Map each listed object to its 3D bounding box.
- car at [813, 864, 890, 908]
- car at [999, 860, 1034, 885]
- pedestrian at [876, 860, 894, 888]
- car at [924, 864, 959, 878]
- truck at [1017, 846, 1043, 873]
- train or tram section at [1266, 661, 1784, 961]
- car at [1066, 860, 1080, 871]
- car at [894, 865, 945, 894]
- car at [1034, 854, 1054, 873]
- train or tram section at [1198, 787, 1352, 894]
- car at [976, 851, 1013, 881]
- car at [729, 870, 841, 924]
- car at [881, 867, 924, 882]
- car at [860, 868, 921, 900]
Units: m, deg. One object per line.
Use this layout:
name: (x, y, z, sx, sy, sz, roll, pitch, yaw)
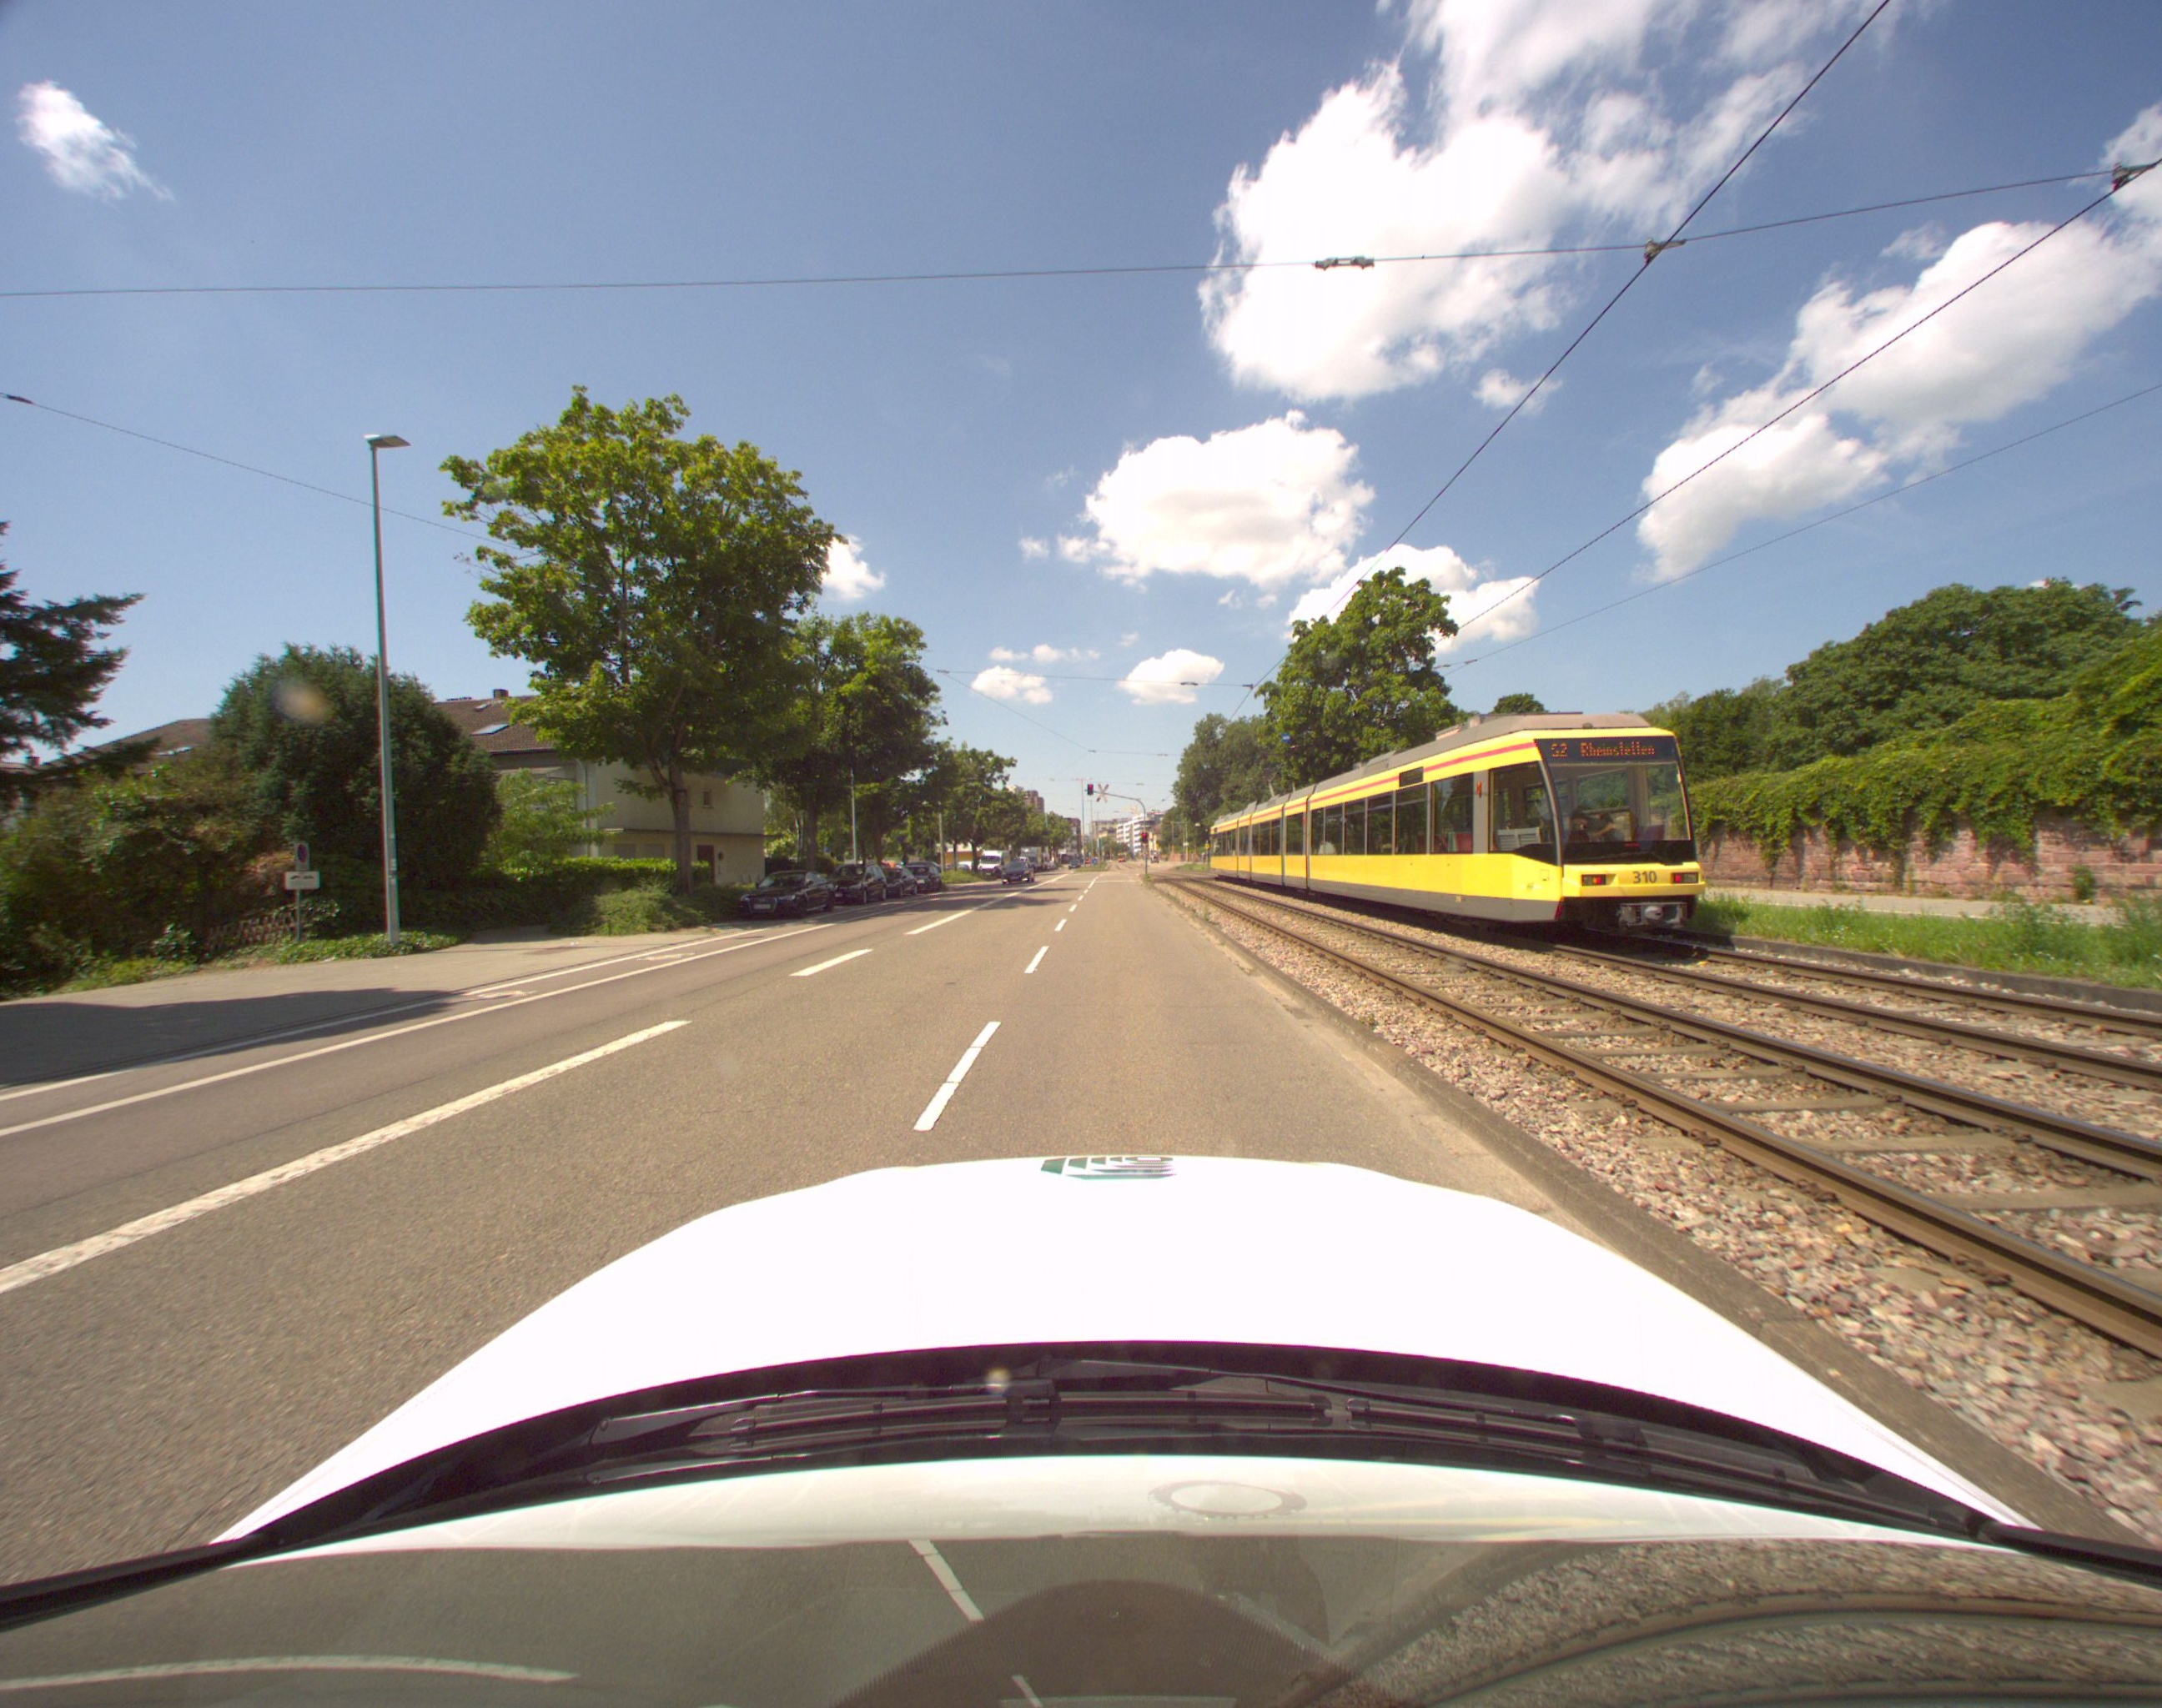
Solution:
car: (-9.268, 1.242, 33.300, 1.768, 1.604, 4.638, -1, 0, 1)
car: (-4.113, 1.176, 52.450, 1.769, 1.460, 4.195, -3, 0, 1)
pedestrian: (-13.055, 1.327, 54.322, 0.971, 1.823, 0.794, -2, -1, -1)
car: (-17.734, 2.193, 103.463, 3.973, 1.606, 1.805, -2, 0, 1)
truck: (-6.277, 0.687, 101.900, 2.147, 3.210, 7.091, 1, 0, 5)
train or tram section: (7.588, -0.507, 19.302, 2.932, 3.692, 18.399, -1, 0, 2)
car: (-1.203, 1.699, 121.550, 1.671, 1.398, 4.009, -4, 0, 3)
car: (-8.681, 1.345, 44.064, 1.768, 1.481, 4.050, 0, 0, 2)
car: (-5.274, 1.323, 117.220, 2.147, 2.639, 5.618, -2, 0, 5)
train or tram section: (8.275, -0.445, 38.700, 2.933, 3.692, 20.289, -1, 0, 1)
car: (-7.740, 1.057, 73.808, 2.147, 2.487, 6.201, -2, 0, 5)
car: (-9.382, 1.304, 26.305, 1.768, 1.456, 4.804, -2, 0, 1)
car: (-18.228, 2.057, 83.364, 3.973, 1.339, 1.805, -2, 0, 1)
car: (-9.046, 1.376, 39.057, 1.768, 1.373, 4.697, 0, 0, 1)
